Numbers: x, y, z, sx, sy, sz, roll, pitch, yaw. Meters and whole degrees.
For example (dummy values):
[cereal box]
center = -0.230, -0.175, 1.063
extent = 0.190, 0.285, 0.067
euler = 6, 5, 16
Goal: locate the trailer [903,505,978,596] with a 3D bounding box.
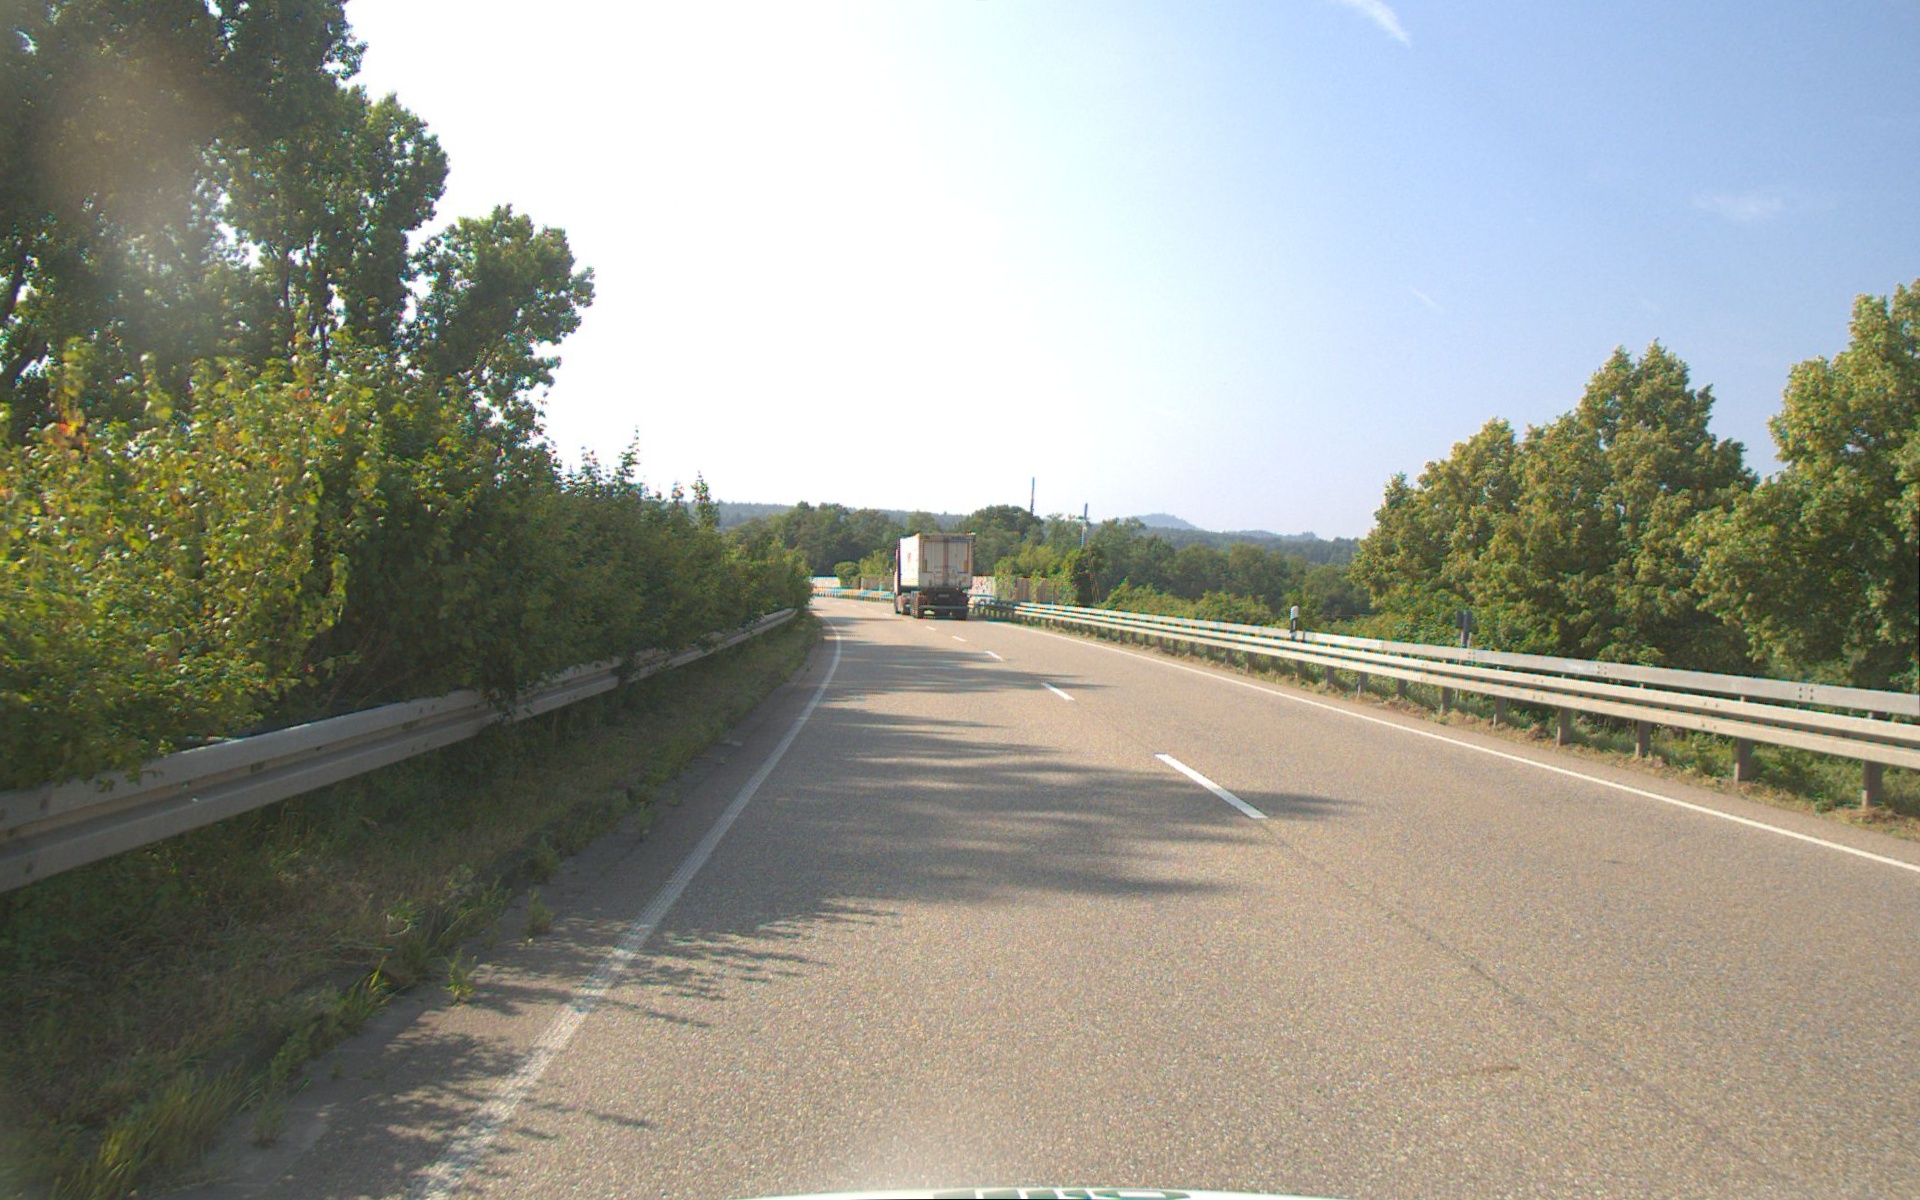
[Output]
[trailer]
center = -1.041, -2.238, 78.264
extent = 2.627, 3.975, 9.661
euler = 1, 1, -6

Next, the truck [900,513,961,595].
[truck]
center = -1.566, -2.314, 84.086
extent = 2.607, 3.964, 5.642
euler = 1, 1, -5
